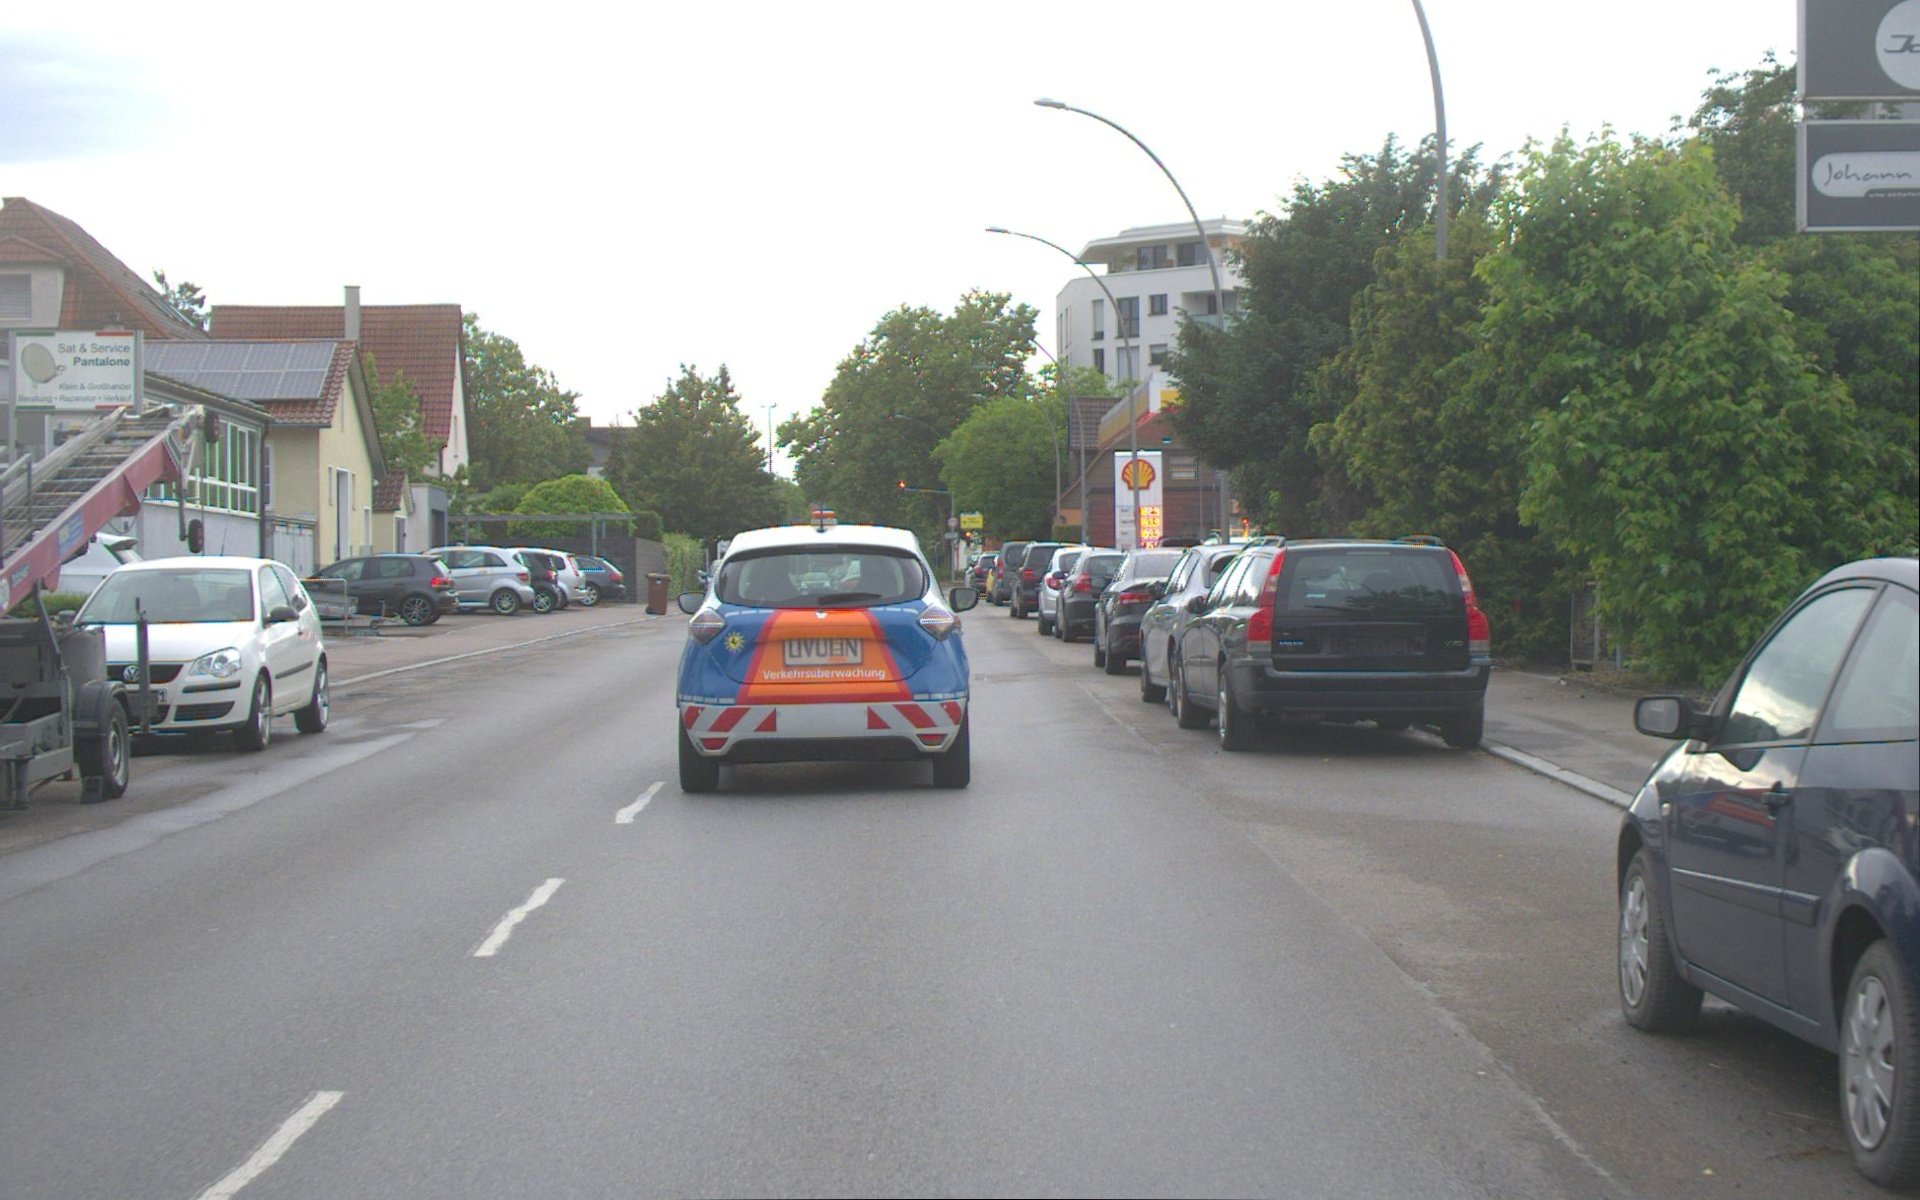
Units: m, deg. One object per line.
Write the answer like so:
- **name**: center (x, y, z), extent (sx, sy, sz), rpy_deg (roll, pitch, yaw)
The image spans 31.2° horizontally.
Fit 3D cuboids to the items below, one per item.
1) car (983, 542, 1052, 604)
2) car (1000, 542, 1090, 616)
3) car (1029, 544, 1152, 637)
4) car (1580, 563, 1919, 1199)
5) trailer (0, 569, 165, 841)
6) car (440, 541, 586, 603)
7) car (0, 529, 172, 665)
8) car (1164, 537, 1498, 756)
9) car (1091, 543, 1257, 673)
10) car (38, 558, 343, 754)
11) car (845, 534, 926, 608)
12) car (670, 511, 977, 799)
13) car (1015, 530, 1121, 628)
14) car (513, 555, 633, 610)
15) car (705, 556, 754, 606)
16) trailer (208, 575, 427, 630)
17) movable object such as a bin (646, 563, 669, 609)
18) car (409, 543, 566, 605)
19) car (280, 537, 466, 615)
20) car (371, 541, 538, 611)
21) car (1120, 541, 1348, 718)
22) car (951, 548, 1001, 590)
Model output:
- **car**: center (1.576, -0.754, 95.415), extent (1.650, 1.666, 4.000), rpy_deg (1, 1, -2)
- **car**: center (1.802, -0.462, 73.642), extent (1.650, 1.516, 4.000), rpy_deg (1, 1, -2)
- **car**: center (1.960, -0.168, 52.470), extent (1.650, 1.331, 4.000), rpy_deg (-1, 1, -1)
- **car**: center (2.767, 0.648, 9.078), extent (1.487, 1.434, 3.807), rpy_deg (1, 1, -1)
- **trailer**: center (-6.008, 0.543, 20.096), extent (1.717, 1.256, 5.245), rpy_deg (1, 3, -3)
- **car**: center (-11.559, -0.733, 88.989), extent (3.653, 1.478, 1.480), rpy_deg (-1, 1, -4)
- **car**: center (-11.443, -0.057, 40.915), extent (3.759, 1.562, 1.655), rpy_deg (1, 0, -2)
- **car**: center (2.608, 0.286, 25.144), extent (1.711, 1.433, 4.527), rpy_deg (1, 1, -3)
- **car**: center (2.362, 0.069, 38.821), extent (1.605, 1.369, 4.087), rpy_deg (1, 1, 0)
- **car**: center (-6.055, 0.393, 27.462), extent (1.557, 1.428, 4.000), rpy_deg (1, 1, -1)
- **car**: center (-1.639, -0.630, 74.382), extent (1.650, 1.516, 4.000), rpy_deg (1, 1, -2)
- **car**: center (-0.815, 0.292, 21.243), extent (1.731, 1.625, 3.495), rpy_deg (0, 1, -1)
- **car**: center (1.775, -0.340, 57.586), extent (1.481, 1.550, 3.861), rpy_deg (1, 0, -2)
- **car**: center (-10.912, -0.505, 97.084), extent (3.281, 1.443, 1.480), rpy_deg (-1, 1, -4)
- **car**: center (-7.094, -0.603, 106.091), extent (1.386, 1.478, 3.784), rpy_deg (0, 1, -2)
- **trailer**: center (-12.626, 0.041, 67.752), extent (4.022, 0.991, 1.655), rpy_deg (1, 0, -2)
- **movable object such as a bin**: center (-8.009, -0.372, 91.120), extent (0.579, 1.200, 0.318), rpy_deg (1, 1, 0)
- **car**: center (-11.681, -0.648, 85.167), extent (3.759, 1.478, 1.655), rpy_deg (1, 0, -5)
- **car**: center (-11.966, -0.498, 70.218), extent (3.579, 1.521, 1.655), rpy_deg (1, 0, -5)
- **car**: center (-11.861, -0.575, 80.804), extent (3.759, 1.571, 1.655), rpy_deg (1, 0, -5)
- **car**: center (2.364, 0.216, 30.416), extent (1.539, 1.424, 3.751), rpy_deg (1, 1, -2)
- **car**: center (0.580, -1.150, 127.346), extent (1.650, 1.478, 4.000), rpy_deg (1, 1, -2)
